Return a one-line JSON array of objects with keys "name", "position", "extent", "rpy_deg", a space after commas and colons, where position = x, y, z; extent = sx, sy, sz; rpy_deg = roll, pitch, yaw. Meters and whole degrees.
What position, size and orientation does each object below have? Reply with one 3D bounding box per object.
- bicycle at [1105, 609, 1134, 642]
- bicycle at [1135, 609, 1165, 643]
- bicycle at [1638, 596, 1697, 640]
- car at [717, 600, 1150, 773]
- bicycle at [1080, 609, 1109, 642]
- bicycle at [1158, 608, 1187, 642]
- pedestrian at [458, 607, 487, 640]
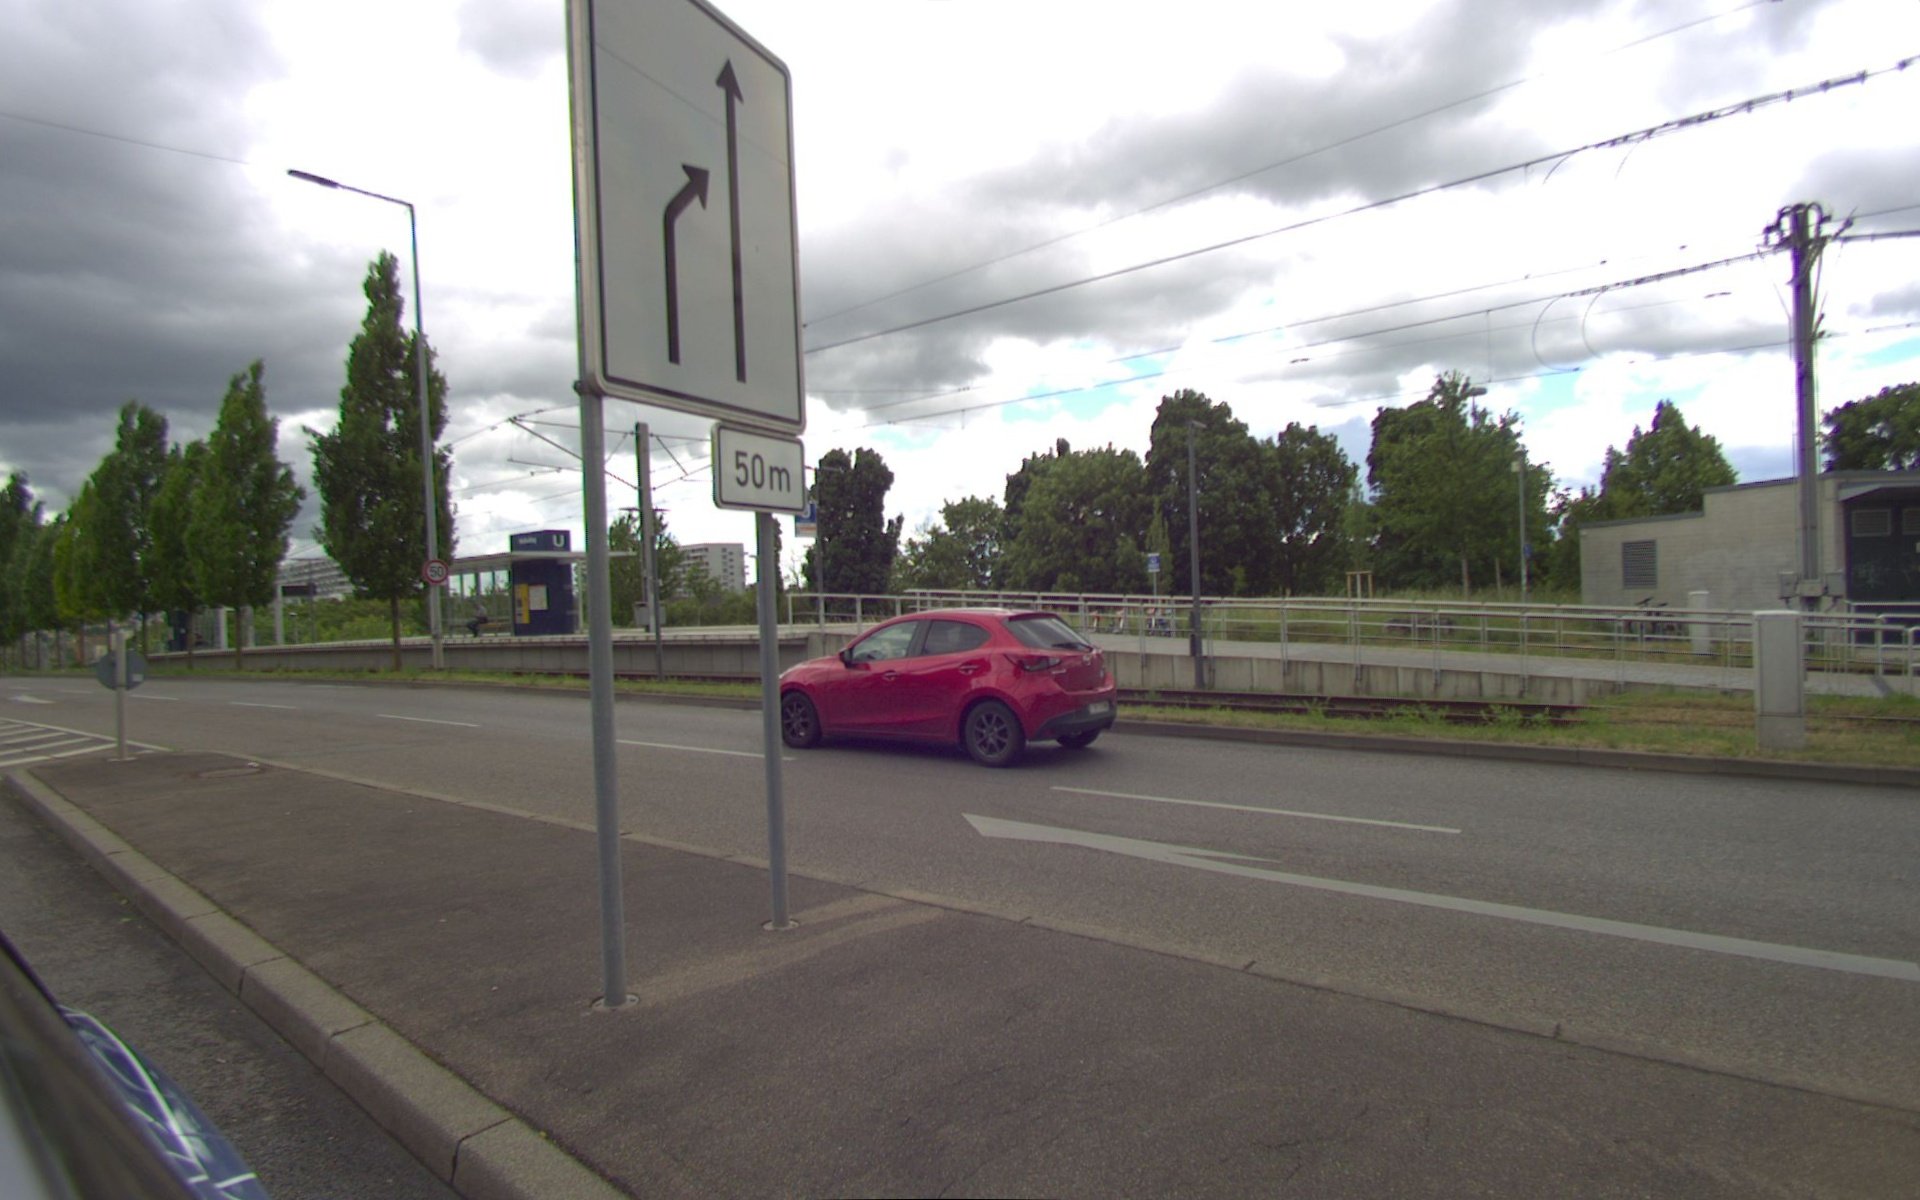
[{"name": "bicycle", "position": [5.440, 0.865, 34.451], "extent": [0.490, 1.095, 1.466], "rpy_deg": [-2, -1, 30]}, {"name": "bicycle", "position": [6.381, 0.871, 33.939], "extent": [0.490, 1.095, 1.466], "rpy_deg": [-2, -1, 30]}, {"name": "bicycle", "position": [18.194, 0.456, 26.051], "extent": [0.486, 1.095, 1.480], "rpy_deg": [-1, -1, 3]}, {"name": "car", "position": [-0.408, 0.782, 10.698], "extent": [4.417, 1.454, 1.765], "rpy_deg": [-1, 0, 36]}, {"name": "bicycle", "position": [4.683, 0.881, 35.153], "extent": [0.490, 1.095, 1.466], "rpy_deg": [-2, -1, 30]}, {"name": "bicycle", "position": [7.046, 0.814, 33.460], "extent": [0.490, 1.095, 1.466], "rpy_deg": [-2, -1, 30]}, {"name": "pedestrian", "position": [-18.251, 0.877, 37.866], "extent": [0.781, 1.211, 0.656], "rpy_deg": [-2, -1, 33]}]
